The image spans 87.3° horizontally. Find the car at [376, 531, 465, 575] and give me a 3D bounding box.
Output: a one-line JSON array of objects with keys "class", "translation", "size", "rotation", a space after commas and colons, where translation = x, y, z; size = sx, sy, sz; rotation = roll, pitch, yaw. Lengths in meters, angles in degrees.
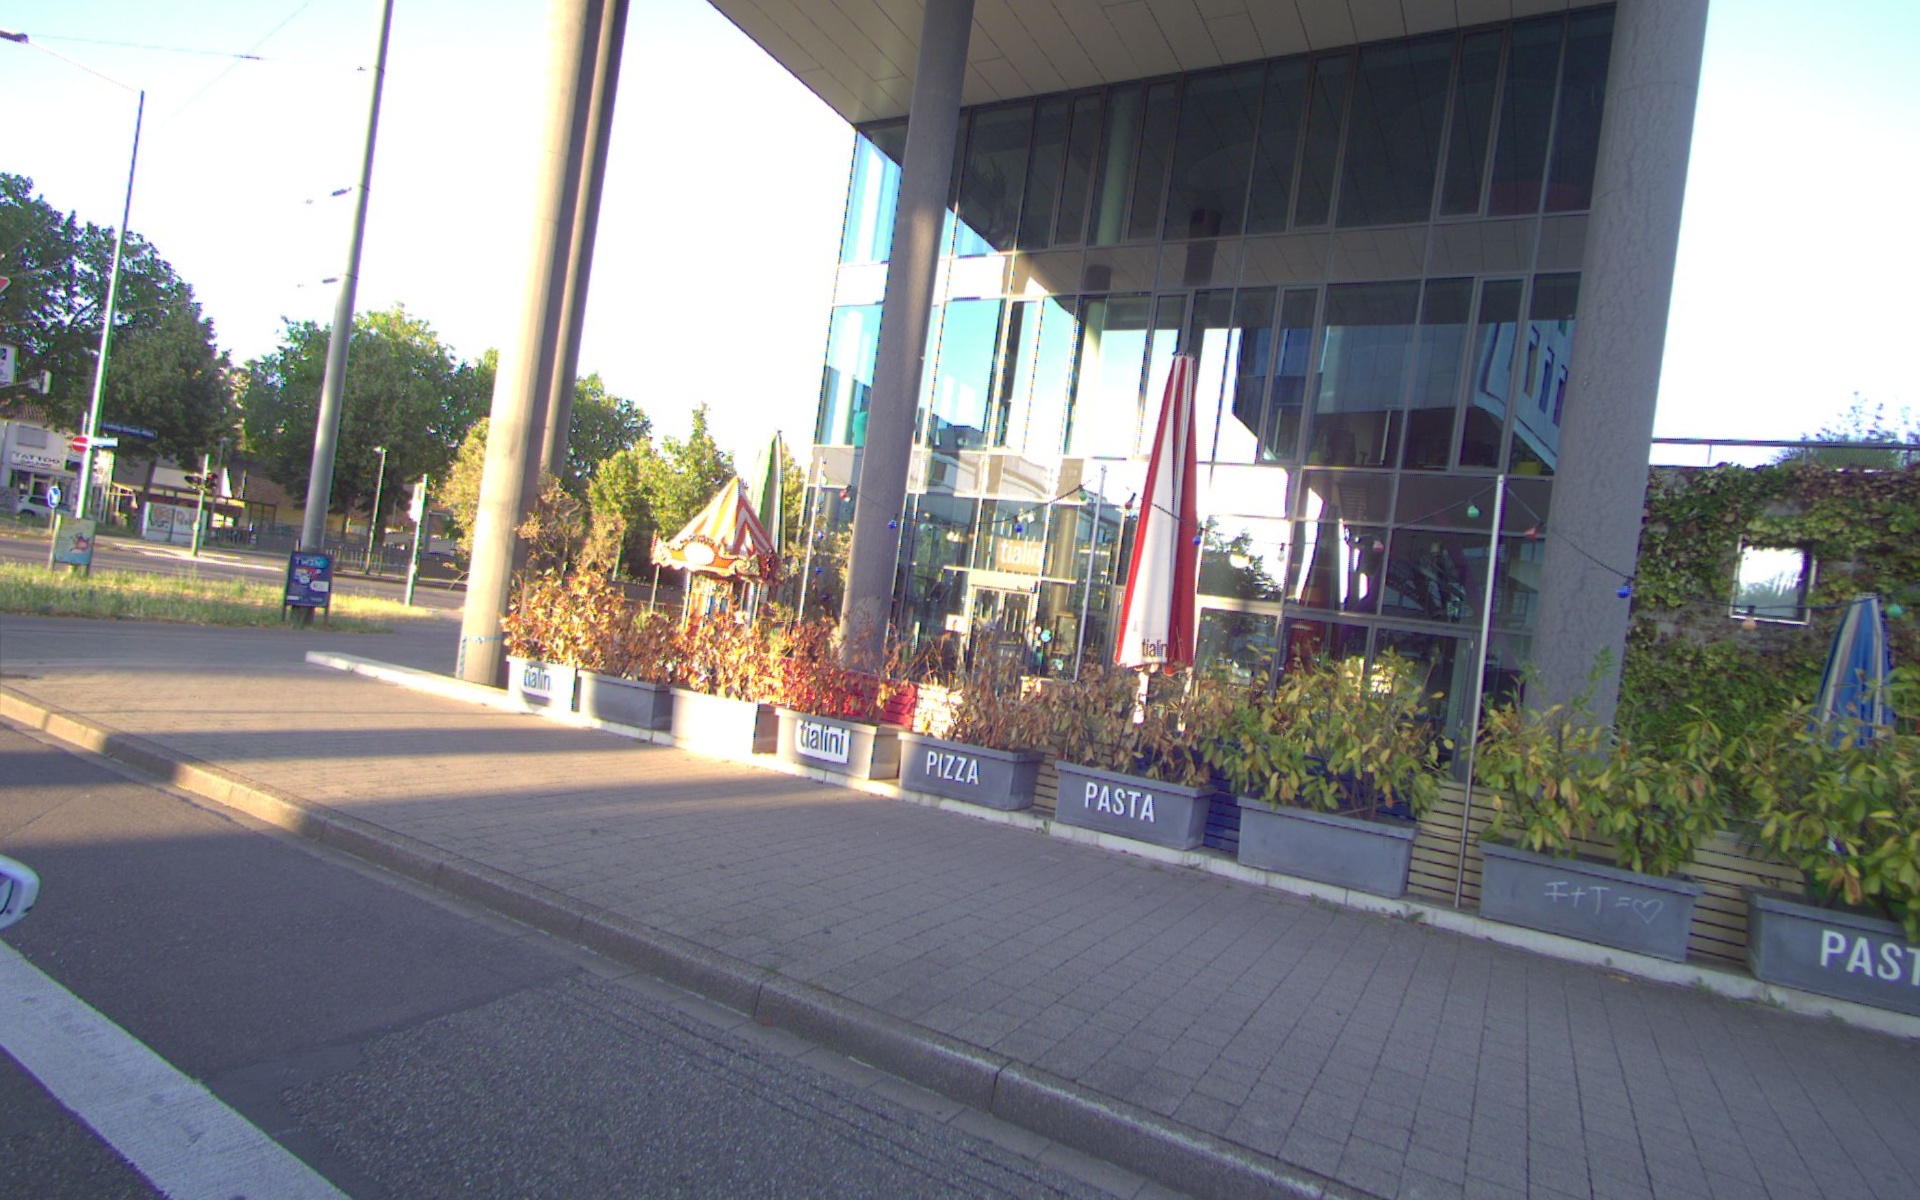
[{"class": "car", "translation": [-42.604, -3.683, 79.552], "size": [2.197, 2.581, 5.594], "rotation": [7, -2, 39]}]

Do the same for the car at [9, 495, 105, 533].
[{"class": "car", "translation": [-50.302, -4.754, 56.090], "size": [1.641, 1.456, 3.736], "rotation": [6, -2, 41]}]
